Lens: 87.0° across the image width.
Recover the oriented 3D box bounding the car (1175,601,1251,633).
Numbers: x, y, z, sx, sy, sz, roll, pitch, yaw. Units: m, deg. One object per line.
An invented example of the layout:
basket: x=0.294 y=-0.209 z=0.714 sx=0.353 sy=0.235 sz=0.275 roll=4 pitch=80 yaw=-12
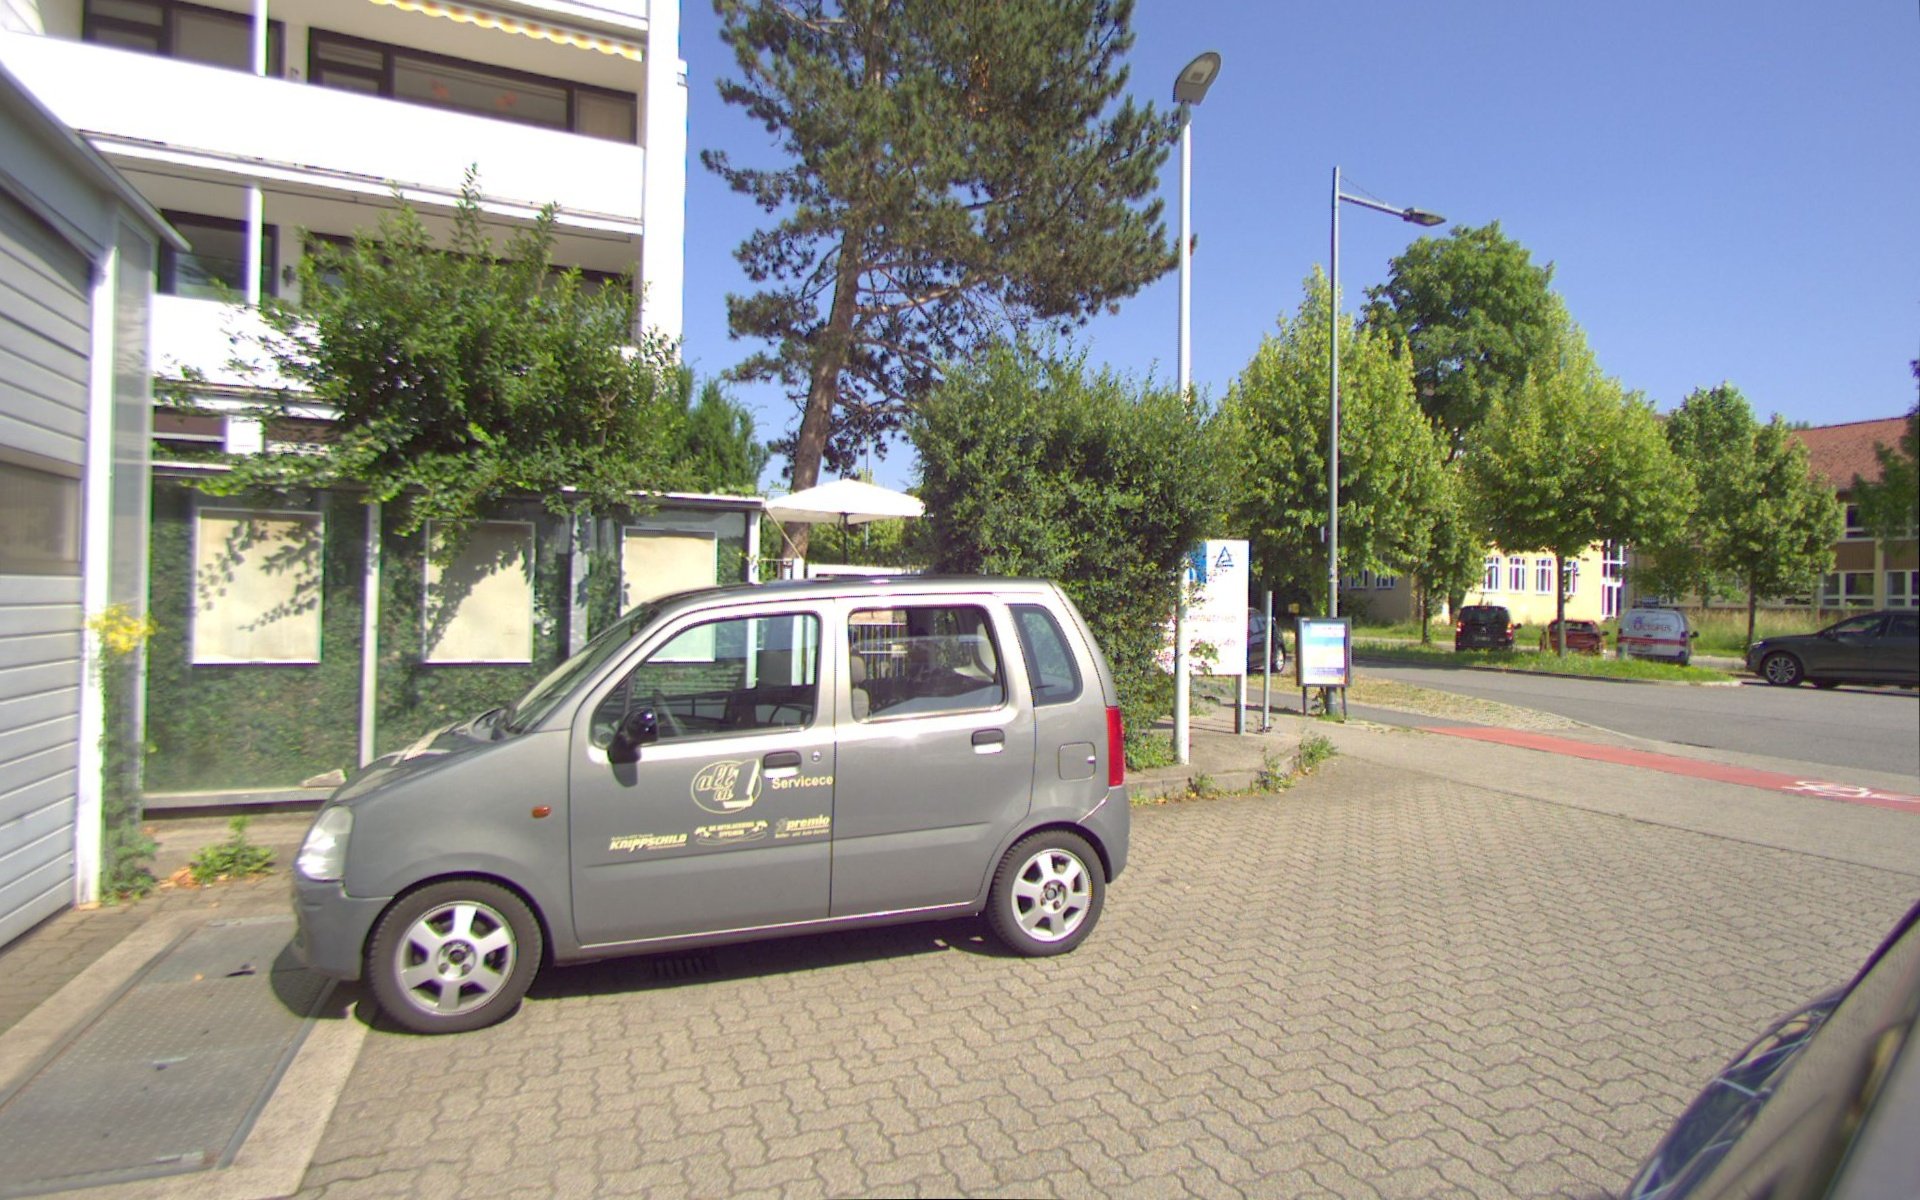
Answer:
car: x=12.641 y=0.865 z=50.562 sx=3.660 sy=1.408 sz=1.879 roll=3 pitch=-1 yaw=-41

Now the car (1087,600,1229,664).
car: x=5.325 y=0.848 z=26.885 sx=1.874 sy=1.500 sz=4.162 roll=2 pitch=-1 yaw=41

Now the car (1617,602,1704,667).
car: x=21.103 y=1.035 z=30.420 sx=1.872 sy=1.744 sz=4.166 roll=3 pitch=0 yaw=38

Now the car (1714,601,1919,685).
car: x=19.487 y=0.918 z=21.210 sx=1.958 sy=1.631 sz=5.669 roll=4 pitch=-1 yaw=-23

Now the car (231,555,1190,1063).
car: x=-0.953 y=0.656 z=4.674 sx=3.585 sy=1.637 sz=1.696 roll=0 pitch=0 yaw=-20

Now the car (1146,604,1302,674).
car: x=6.280 y=0.911 z=23.787 sx=1.874 sy=1.435 sz=4.162 roll=2 pitch=-1 yaw=41

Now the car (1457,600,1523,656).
car: x=18.376 y=0.967 z=35.090 sx=1.865 sy=1.744 sz=4.183 roll=3 pitch=0 yaw=28

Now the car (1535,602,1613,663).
car: x=19.884 y=1.045 z=32.932 sx=1.865 sy=1.744 sz=4.183 roll=3 pitch=0 yaw=28

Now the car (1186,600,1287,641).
car: x=11.199 y=0.804 z=41.300 sx=1.704 sy=1.502 sz=4.168 roll=1 pitch=0 yaw=-24
